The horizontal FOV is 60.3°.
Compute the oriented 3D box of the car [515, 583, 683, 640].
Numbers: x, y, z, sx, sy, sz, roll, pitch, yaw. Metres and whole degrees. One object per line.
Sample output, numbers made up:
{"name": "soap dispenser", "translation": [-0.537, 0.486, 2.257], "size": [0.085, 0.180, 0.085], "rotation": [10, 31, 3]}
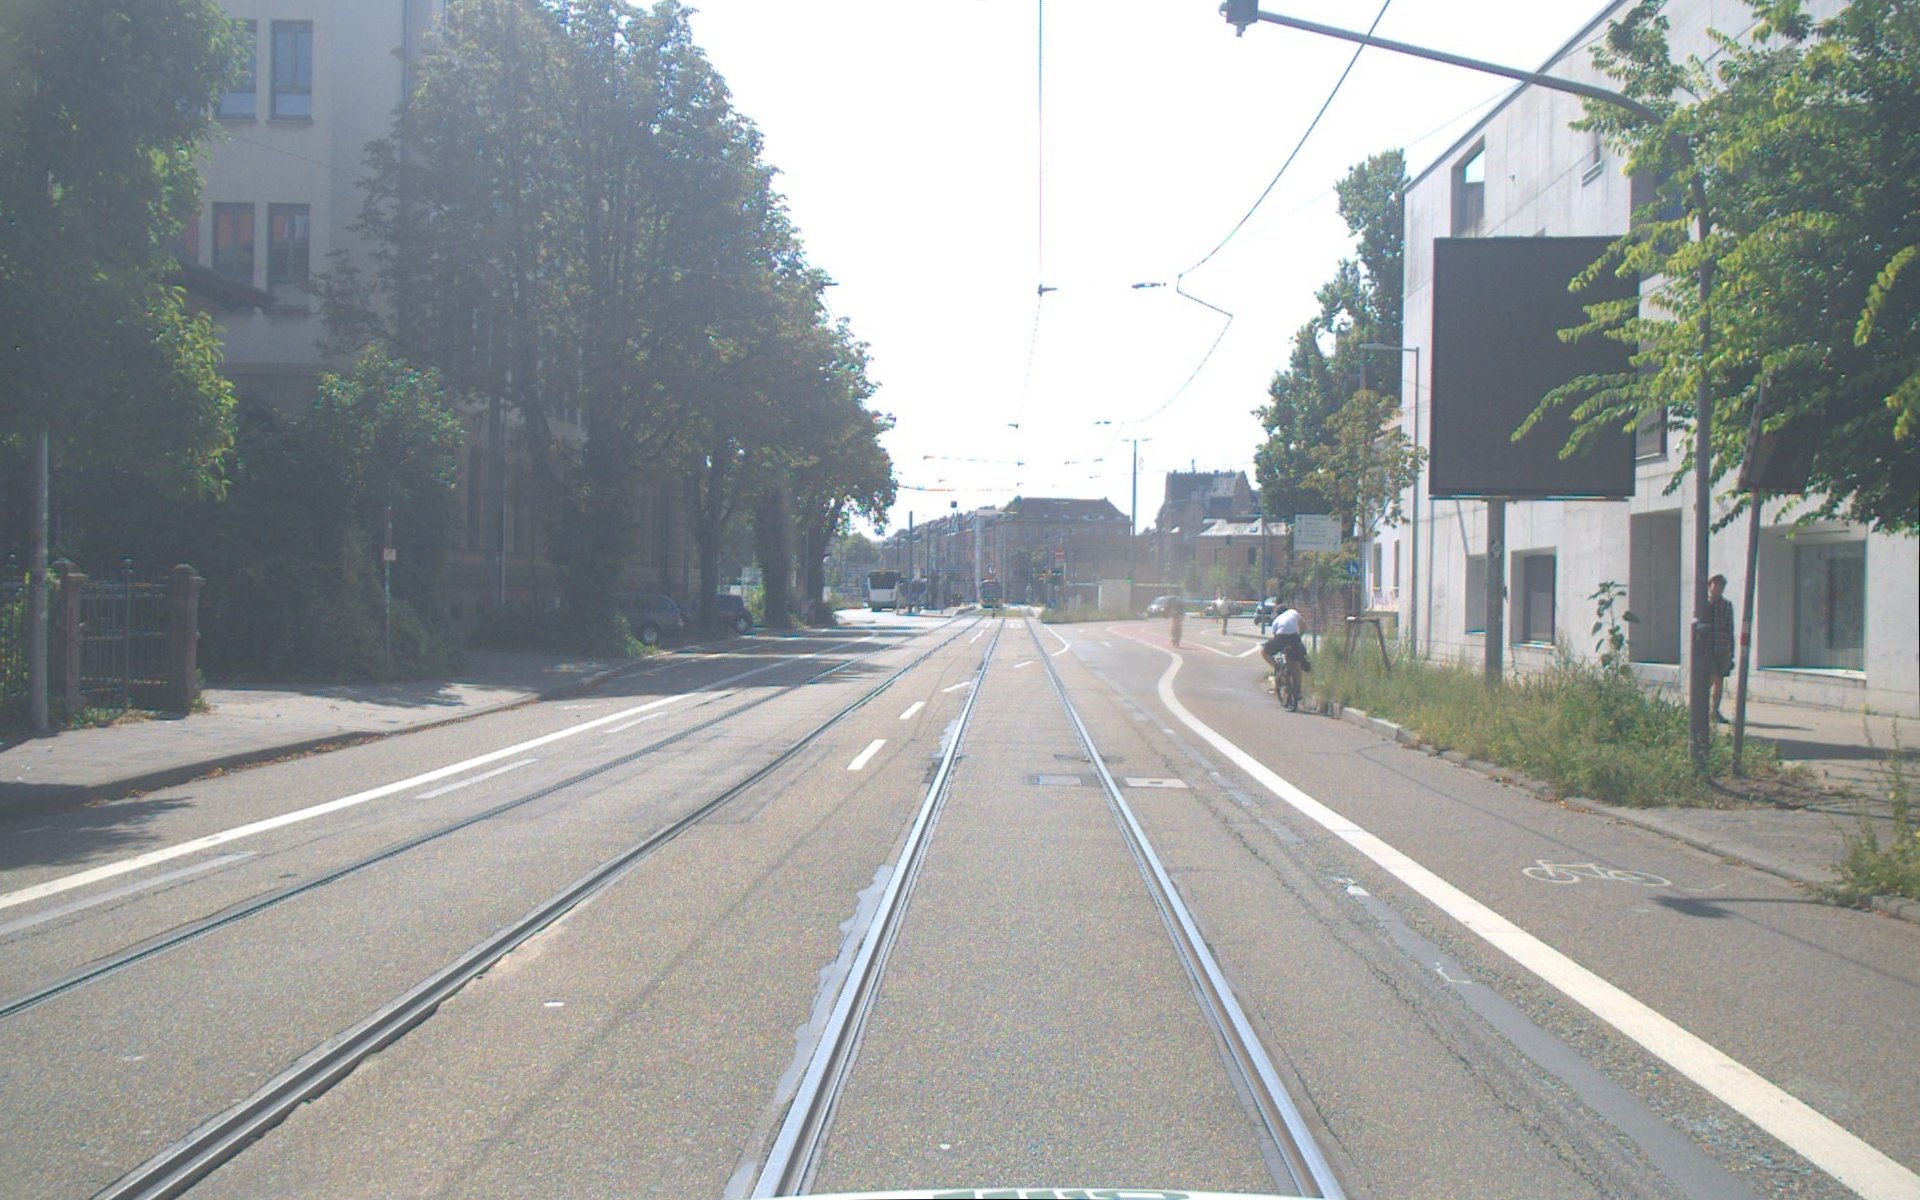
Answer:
{"name": "car", "translation": [-10.218, 0.330, 46.839], "size": [4.358, 1.487, 1.807], "rotation": [2, 0, -25]}

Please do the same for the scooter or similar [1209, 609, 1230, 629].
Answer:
{"name": "scooter or similar", "translation": [13.234, 0.965, 84.228], "size": [0.756, 0.943, 1.621], "rotation": [1, 0, 19]}

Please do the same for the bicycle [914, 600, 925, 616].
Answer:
{"name": "bicycle", "translation": [-3.034, 0.593, 125.109], "size": [0.594, 1.244, 1.706], "rotation": [1, 0, 6]}

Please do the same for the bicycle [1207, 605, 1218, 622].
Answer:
{"name": "bicycle", "translation": [17.355, 0.943, 113.644], "size": [0.435, 1.136, 1.446], "rotation": [0, 0, 20]}

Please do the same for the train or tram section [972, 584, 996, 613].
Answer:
{"name": "train or tram section", "translation": [3.202, -0.190, 216.092], "size": [2.797, 3.610, 17.745], "rotation": [2, 0, 2]}

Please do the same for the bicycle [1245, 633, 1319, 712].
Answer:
{"name": "bicycle", "translation": [4.805, 1.058, 24.810], "size": [0.724, 1.067, 2.234], "rotation": [1, 0, 2]}

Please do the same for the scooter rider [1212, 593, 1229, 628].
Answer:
{"name": "scooter rider", "translation": [13.315, 0.538, 84.416], "size": [0.746, 1.806, 0.555], "rotation": [1, 0, 19]}

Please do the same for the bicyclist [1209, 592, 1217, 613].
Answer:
{"name": "bicyclist", "translation": [17.403, 0.177, 113.753], "size": [0.440, 1.446, 0.496], "rotation": [0, 0, 19]}

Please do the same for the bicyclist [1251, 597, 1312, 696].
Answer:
{"name": "bicyclist", "translation": [4.830, 0.689, 24.894], "size": [0.729, 1.436, 0.962], "rotation": [1, 0, 2]}

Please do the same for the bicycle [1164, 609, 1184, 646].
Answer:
{"name": "bicycle", "translation": [7.174, 0.907, 55.420], "size": [0.591, 1.183, 1.811], "rotation": [1, 0, 5]}

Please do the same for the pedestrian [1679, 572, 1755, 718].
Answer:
{"name": "pedestrian", "translation": [9.314, 0.548, 20.376], "size": [0.677, 1.762, 0.579], "rotation": [1, 0, 4]}

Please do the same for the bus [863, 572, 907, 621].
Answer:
{"name": "bus", "translation": [-6.211, -0.295, 138.235], "size": [2.897, 3.841, 10.598], "rotation": [2, 0, 1]}

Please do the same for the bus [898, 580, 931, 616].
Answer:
{"name": "bus", "translation": [-4.980, -0.166, 183.824], "size": [2.653, 3.792, 10.423], "rotation": [1, 0, 3]}

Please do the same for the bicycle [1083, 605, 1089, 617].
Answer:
{"name": "bicycle", "translation": [10.896, 0.973, 142.851], "size": [0.454, 1.051, 1.549], "rotation": [1, 0, 4]}

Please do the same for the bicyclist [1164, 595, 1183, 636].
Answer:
{"name": "bicyclist", "translation": [7.157, 0.519, 55.434], "size": [0.590, 1.358, 0.660], "rotation": [1, 0, 6]}

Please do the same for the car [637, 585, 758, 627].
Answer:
{"name": "car", "translation": [-9.829, 0.227, 62.014], "size": [4.116, 1.522, 1.798], "rotation": [1, 0, -36]}
